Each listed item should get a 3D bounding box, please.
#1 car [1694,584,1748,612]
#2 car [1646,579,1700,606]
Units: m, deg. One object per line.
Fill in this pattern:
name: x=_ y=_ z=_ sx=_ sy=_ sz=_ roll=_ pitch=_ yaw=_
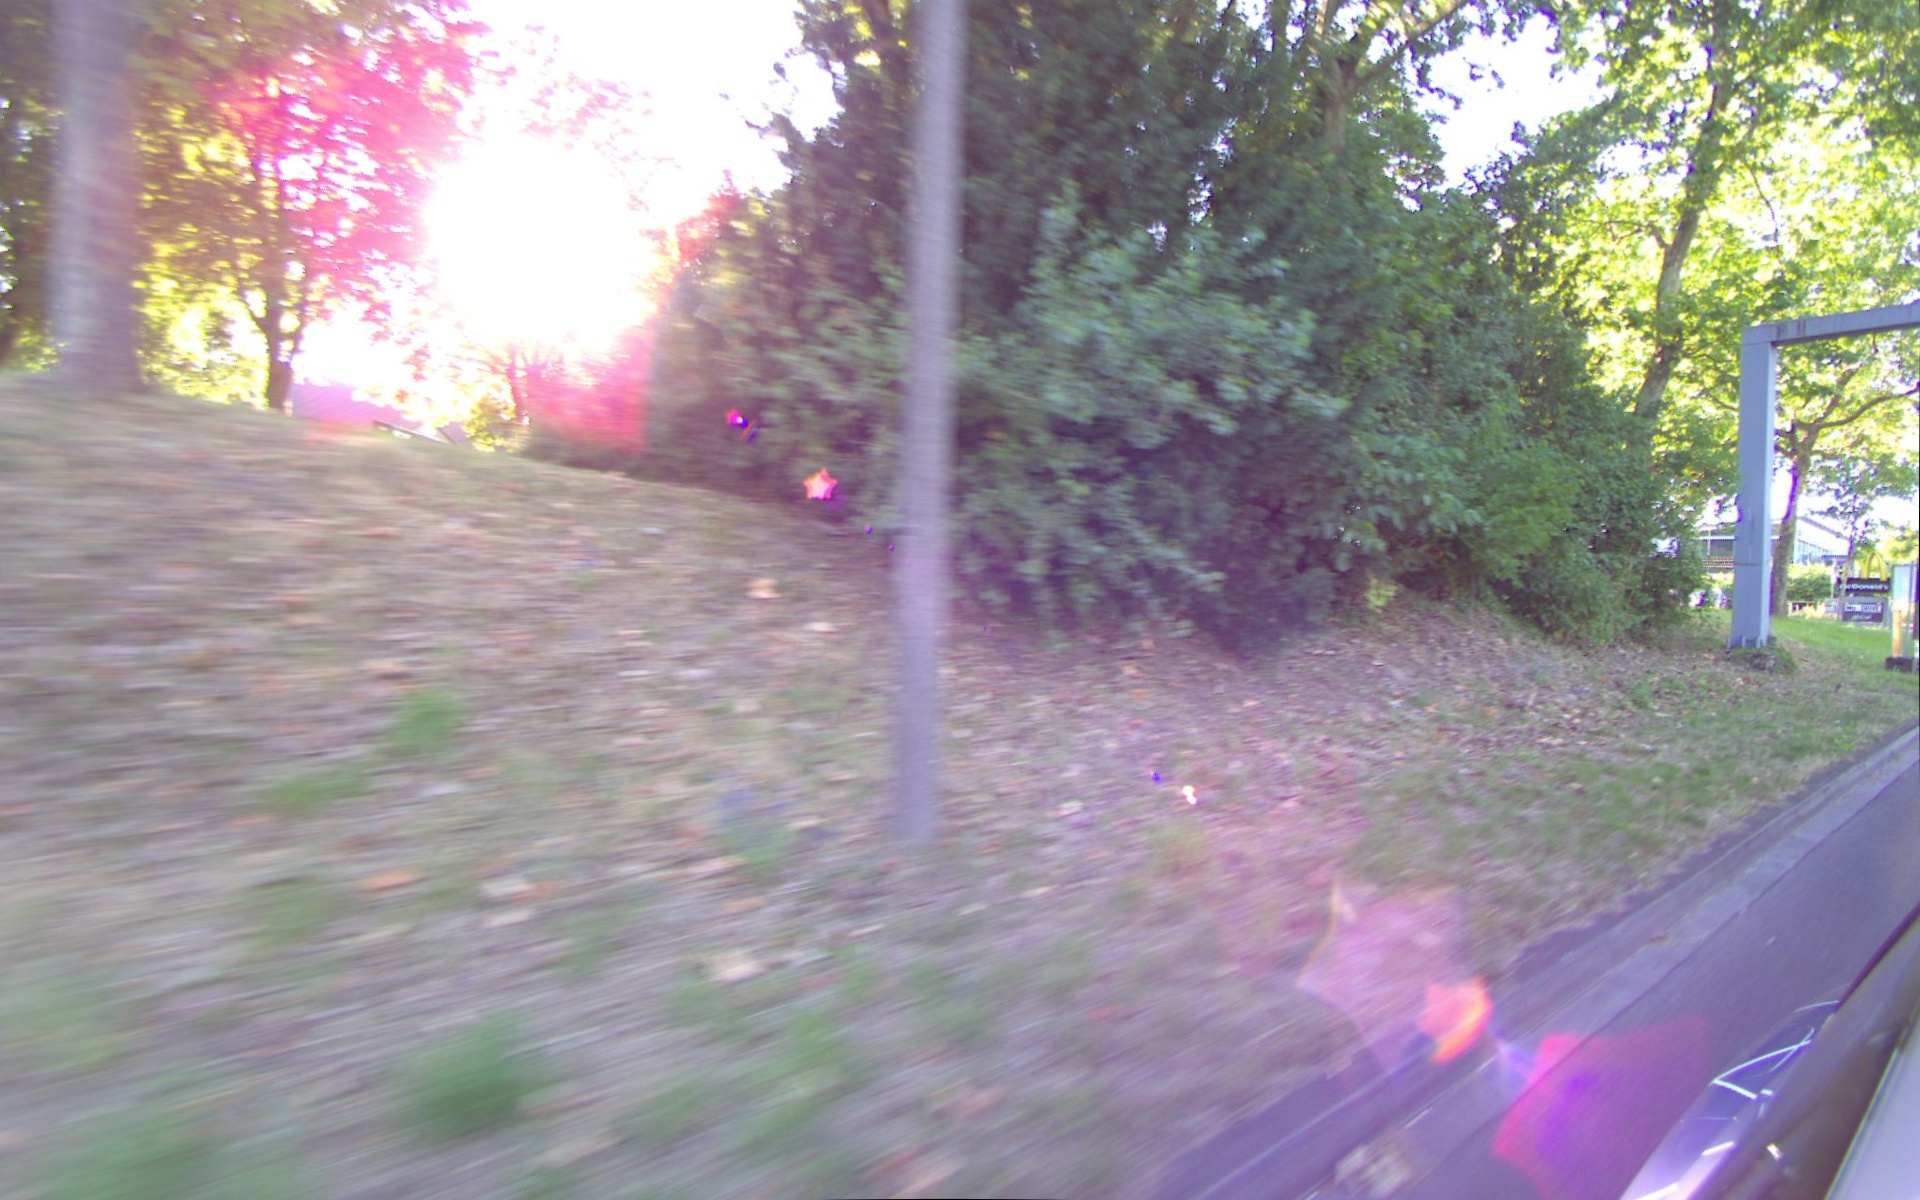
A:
car: x=51.175 y=-0.136 z=68.013 sx=3.931 sy=1.668 sz=2.117 roll=1 pitch=3 yaw=-42
car: x=49.822 y=-0.520 z=70.664 sx=4.246 sy=1.668 sz=2.117 roll=1 pitch=3 yaw=-42
